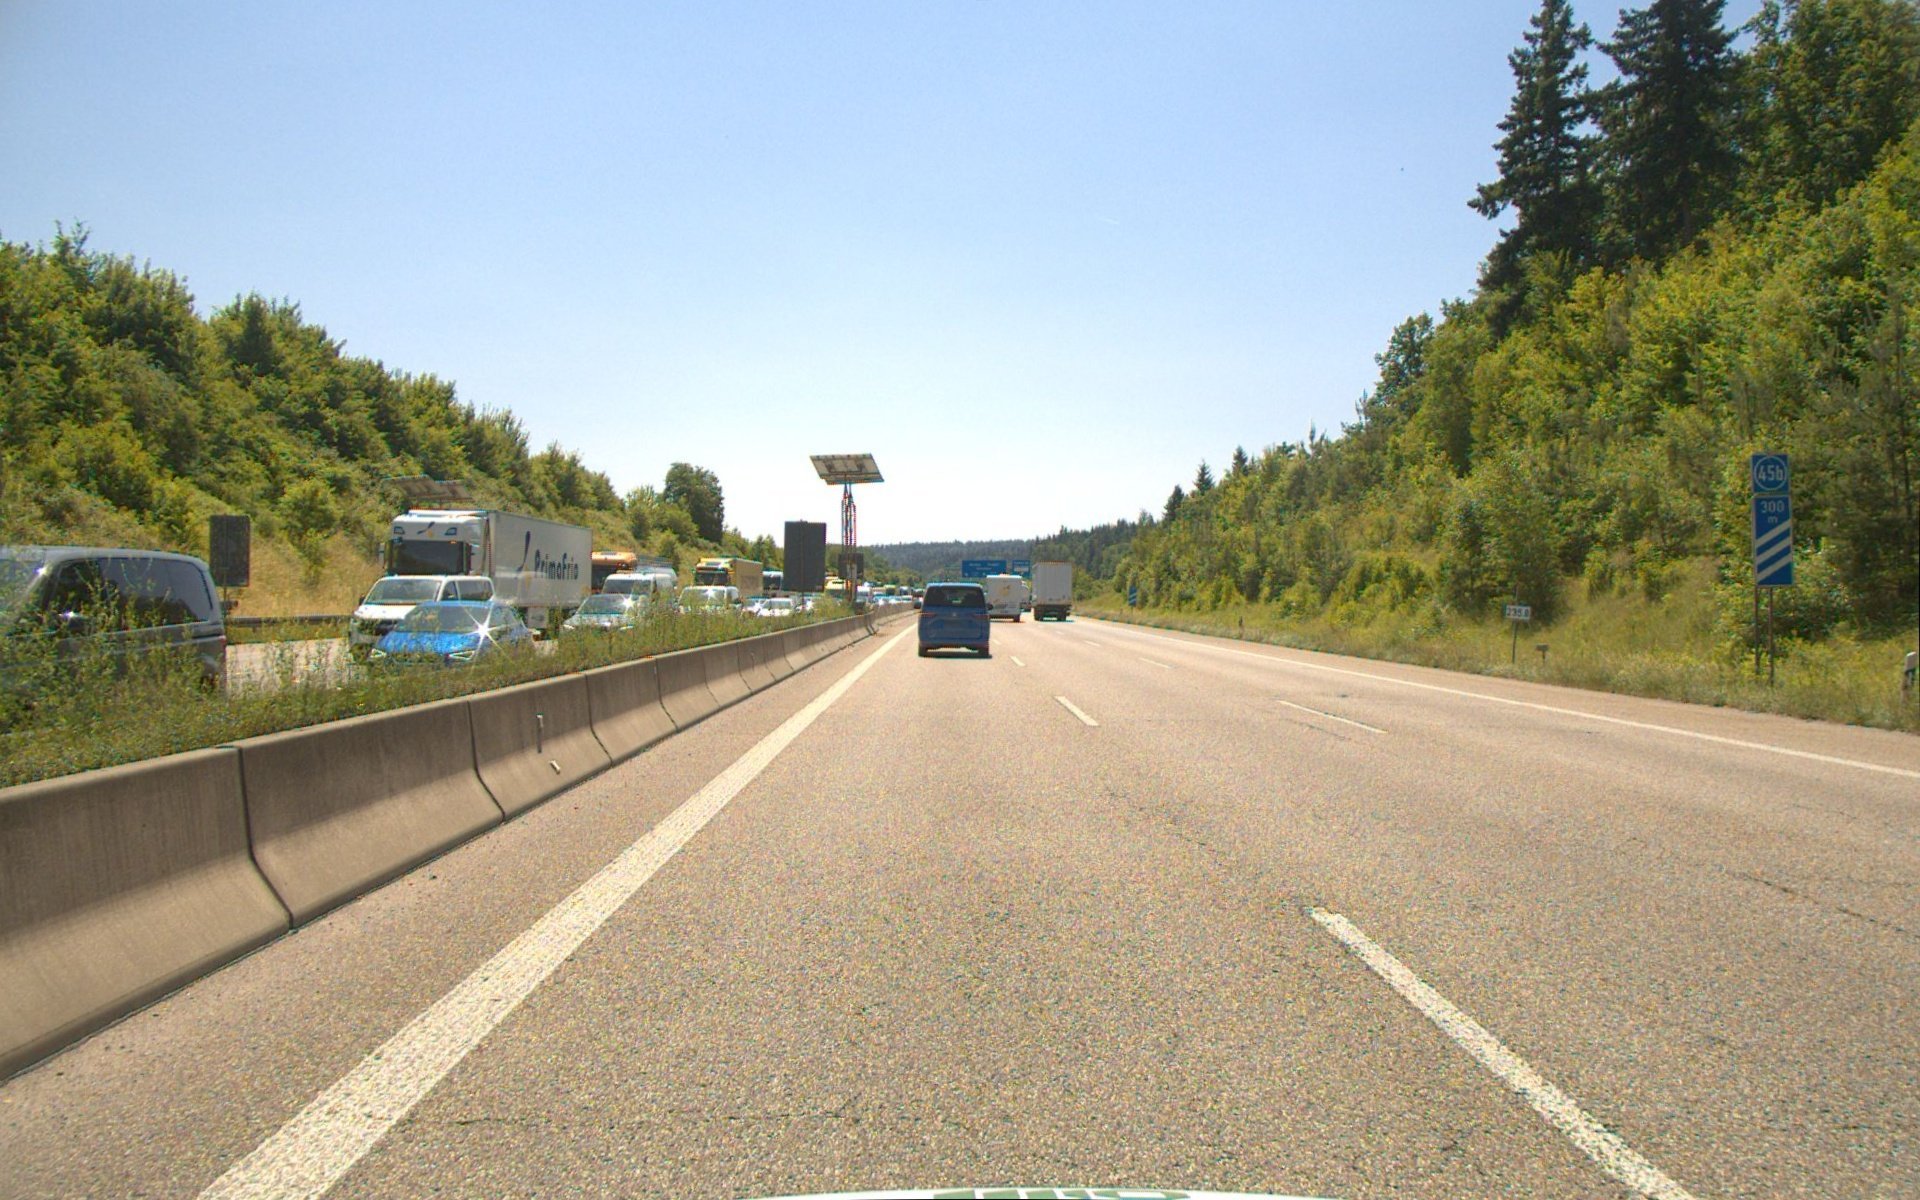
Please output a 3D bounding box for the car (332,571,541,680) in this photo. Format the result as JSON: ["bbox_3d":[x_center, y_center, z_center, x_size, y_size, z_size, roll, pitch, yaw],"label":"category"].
[{"bbox_3d":[-7.995,0.368,25.753,1.789,1.504,4.970,1,0,-2],"label":"car"}]

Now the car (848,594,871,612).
[{"bbox_3d":[-8.473,0.251,139.412,1.791,1.523,4.757,1,0,-2],"label":"car"}]

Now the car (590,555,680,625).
[{"bbox_3d":[-12.049,-0.336,61.837,2.140,2.426,6.539,1,0,-1],"label":"car"}]

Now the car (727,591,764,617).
[{"bbox_3d":[-13.127,0.259,101.450,1.791,1.523,4.757,1,0,-2],"label":"car"}]

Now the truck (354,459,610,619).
[{"bbox_3d":[-15.584,-1.718,56.213,3.621,4.534,17.379,1,0,0],"label":"truck"}]

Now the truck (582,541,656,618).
[{"bbox_3d":[-15.780,-0.902,76.787,2.443,3.424,5.184,1,0,-2],"label":"truck"}]

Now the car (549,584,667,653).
[{"bbox_3d":[-8.293,0.421,39.432,1.789,1.504,5.397,1,0,-2],"label":"car"}]

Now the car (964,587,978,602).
[{"bbox_3d":[1.430,-0.716,209.953,1.739,1.803,4.000,0,0,0],"label":"car"}]

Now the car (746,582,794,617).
[{"bbox_3d":[-8.850,-0.016,77.404,1.791,1.523,4.757,1,0,-2],"label":"car"}]

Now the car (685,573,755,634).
[{"bbox_3d":[-8.332,0.118,57.873,1.789,2.012,5.663,1,0,-2],"label":"car"}]

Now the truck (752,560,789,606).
[{"bbox_3d":[-16.336,-1.444,142.951,2.624,3.809,5.870,1,0,-2],"label":"truck"}]

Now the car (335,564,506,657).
[{"bbox_3d":[-12.471,0.231,38.705,2.140,1.975,5.884,1,0,-1],"label":"car"}]

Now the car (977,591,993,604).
[{"bbox_3d":[2.954,-0.271,193.889,1.744,1.512,4.000,0,0,0],"label":"car"}]

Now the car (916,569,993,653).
[{"bbox_3d":[-0.164,0.271,43.838,1.870,2.049,3.999,2,0,-1],"label":"car"}]

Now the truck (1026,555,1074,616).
[{"bbox_3d":[6.523,-0.992,121.234,2.726,4.200,9.738,1,0,-1],"label":"truck"}]

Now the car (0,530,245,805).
[{"bbox_3d":[-7.748,0.472,13.472,1.789,1.949,4.970,1,0,-2],"label":"car"}]

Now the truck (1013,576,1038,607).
[{"bbox_3d":[7.833,-1.044,197.727,2.867,3.637,8.528,-1,1,2],"label":"truck"}]

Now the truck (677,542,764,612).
[{"bbox_3d":[-16.705,-1.482,116.924,3.621,4.534,17.379,1,0,0],"label":"truck"}]

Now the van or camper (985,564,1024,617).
[{"bbox_3d":[2.962,-0.701,111.400,2.549,3.131,7.185,1,3,1],"label":"van or camper"}]

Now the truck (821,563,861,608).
[{"bbox_3d":[-8.356,-0.961,117.066,2.221,3.069,6.777,1,0,0],"label":"truck"}]

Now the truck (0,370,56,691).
[{"bbox_3d":[-15.372,-1.047,15.026,3.621,4.534,19.450,1,0,0],"label":"truck"}]
